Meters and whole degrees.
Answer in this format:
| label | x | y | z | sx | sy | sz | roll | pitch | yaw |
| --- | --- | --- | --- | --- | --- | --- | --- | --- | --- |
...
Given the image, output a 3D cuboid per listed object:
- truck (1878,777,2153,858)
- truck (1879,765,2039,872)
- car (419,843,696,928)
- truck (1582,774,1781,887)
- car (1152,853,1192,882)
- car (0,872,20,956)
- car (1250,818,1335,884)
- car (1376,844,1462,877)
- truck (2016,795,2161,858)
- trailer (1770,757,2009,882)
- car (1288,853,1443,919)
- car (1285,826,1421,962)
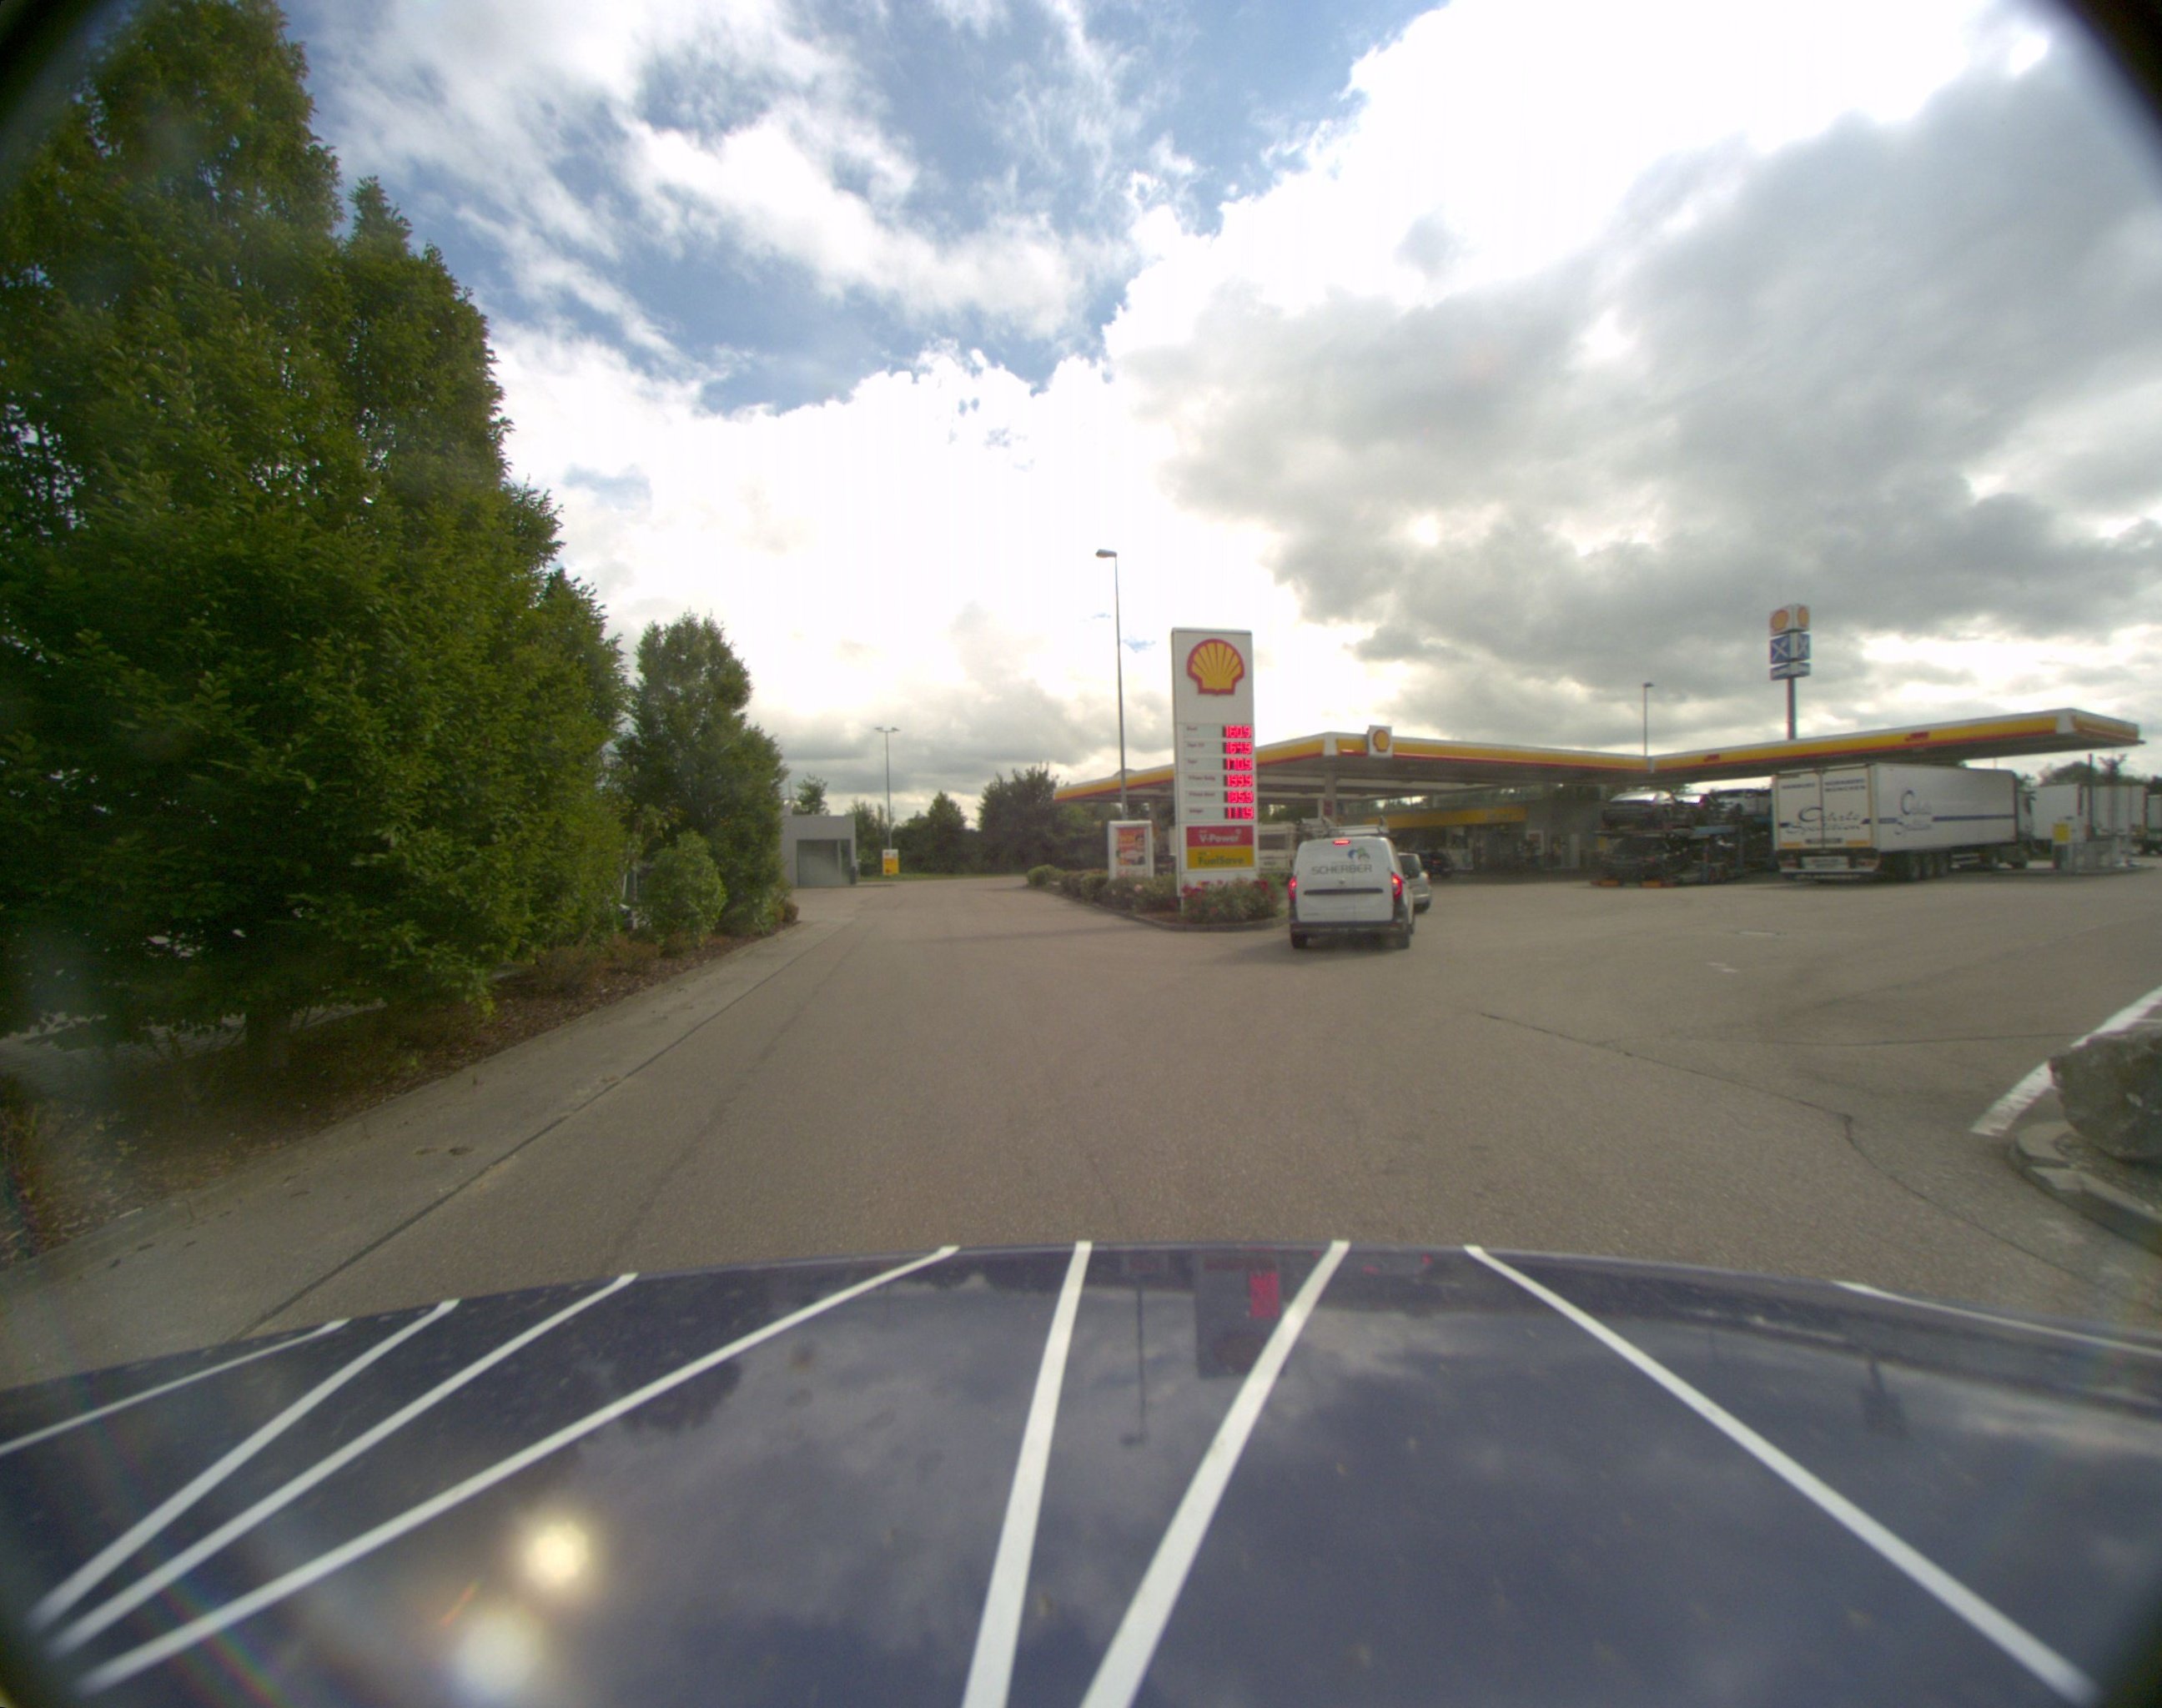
| label | x | y | z | sx | sy | sz | roll | pitch | yaw |
| --- | --- | --- | --- | --- | --- | --- | --- | --- | --- |
| truck | 55.710 | -2.031 | 46.394 | 2.957 | 4.089 | 14.766 | -1 | 1 | 18 |
| truck | 36.369 | -1.397 | 31.426 | 7.178 | 4.001 | 2.707 | -2 | 0 | -28 |
| car | -9.604 | 0.547 | 14.223 | 3.882 | 1.427 | 1.725 | -1 | 0 | -6 |
| truck | 25.029 | -0.991 | 31.212 | 13.281 | 3.901 | 2.745 | -2 | 1 | -35 |
| car | 5.375 | 0.771 | 44.327 | 1.848 | 1.565 | 4.004 | -2 | 0 | 13 |
| car | -22.797 | 1.216 | 13.506 | 4.257 | 1.608 | 1.998 | -2 | 0 | -14 |
| car | 9.857 | -0.146 | 35.046 | 2.219 | 2.770 | 5.819 | -2 | 0 | 31 |
| car | 17.687 | 0.359 | 39.861 | 1.719 | 1.592 | 3.752 | -2 | 0 | -33 |
| truck | 73.145 | -1.869 | 54.040 | 2.987 | 4.086 | 11.592 | -2 | 0 | 22 |
| trailer | 30.519 | -1.246 | 28.408 | 12.865 | 4.001 | 2.707 | -2 | 0 | -28 |
| car | 7.375 | 0.790 | 20.051 | 1.581 | 1.538 | 3.714 | -2 | 0 | -26 |
| car | 4.879 | 0.611 | 13.278 | 1.792 | 2.000 | 3.888 | -2 | 0 | 25 |
